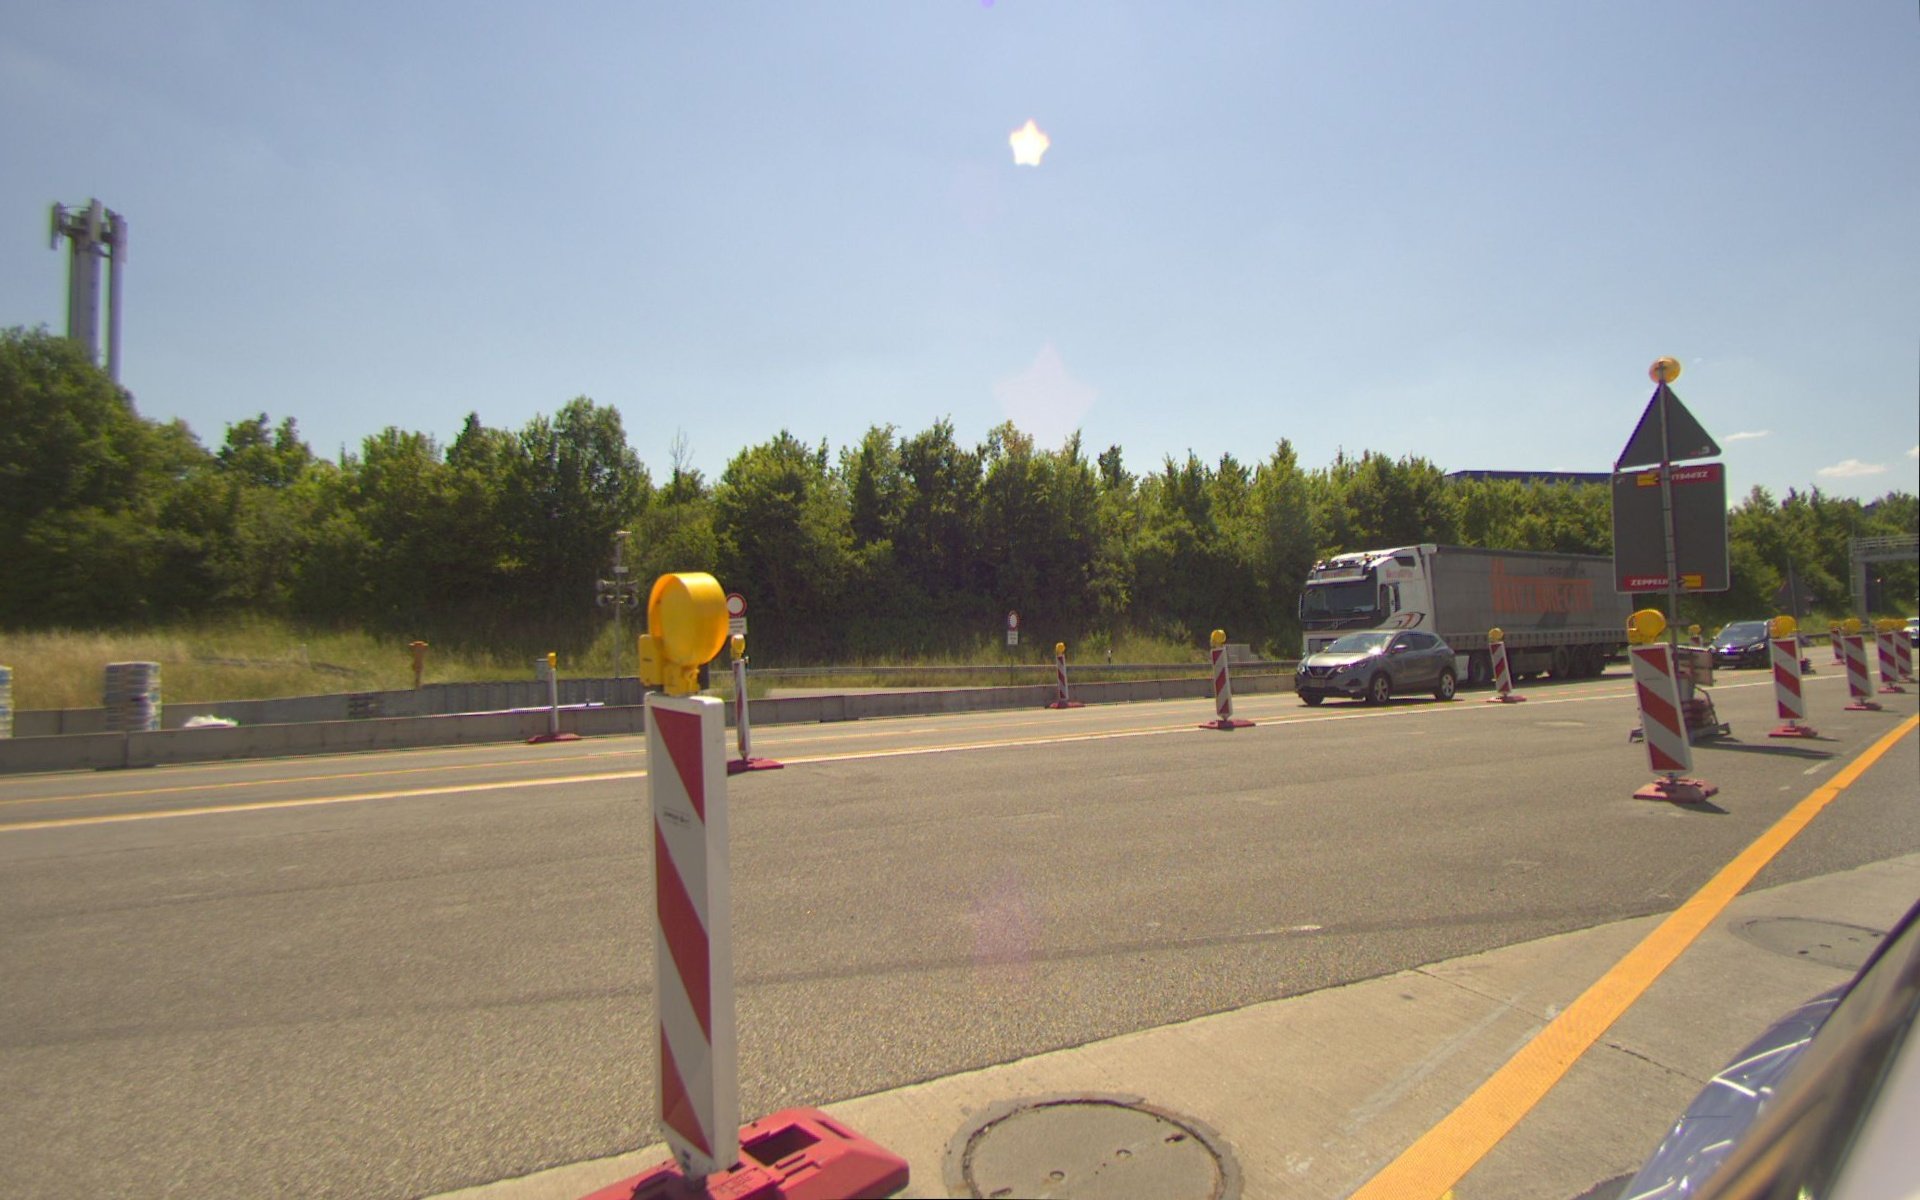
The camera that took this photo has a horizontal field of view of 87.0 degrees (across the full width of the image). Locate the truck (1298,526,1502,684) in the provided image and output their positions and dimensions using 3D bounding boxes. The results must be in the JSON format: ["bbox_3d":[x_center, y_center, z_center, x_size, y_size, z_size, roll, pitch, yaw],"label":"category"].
[{"bbox_3d":[12.371,0.199,28.344,5.493,4.003,2.533,0,-5,-36],"label":"truck"}]

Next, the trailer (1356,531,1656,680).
[{"bbox_3d":[17.857,0.222,32.313,13.607,4.005,2.546,0,-5,-36],"label":"trailer"}]

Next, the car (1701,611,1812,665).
[{"bbox_3d":[28.438,1.340,36.081,4.408,1.718,1.819,-1,-4,-35],"label":"car"}]

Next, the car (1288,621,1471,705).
[{"bbox_3d":[9.136,1.333,21.970,3.954,1.573,1.710,-1,-4,-34],"label":"car"}]

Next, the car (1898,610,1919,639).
[{"bbox_3d":[60.524,1.507,63.325,4.409,1.718,1.819,-1,-4,-36],"label":"car"}]
